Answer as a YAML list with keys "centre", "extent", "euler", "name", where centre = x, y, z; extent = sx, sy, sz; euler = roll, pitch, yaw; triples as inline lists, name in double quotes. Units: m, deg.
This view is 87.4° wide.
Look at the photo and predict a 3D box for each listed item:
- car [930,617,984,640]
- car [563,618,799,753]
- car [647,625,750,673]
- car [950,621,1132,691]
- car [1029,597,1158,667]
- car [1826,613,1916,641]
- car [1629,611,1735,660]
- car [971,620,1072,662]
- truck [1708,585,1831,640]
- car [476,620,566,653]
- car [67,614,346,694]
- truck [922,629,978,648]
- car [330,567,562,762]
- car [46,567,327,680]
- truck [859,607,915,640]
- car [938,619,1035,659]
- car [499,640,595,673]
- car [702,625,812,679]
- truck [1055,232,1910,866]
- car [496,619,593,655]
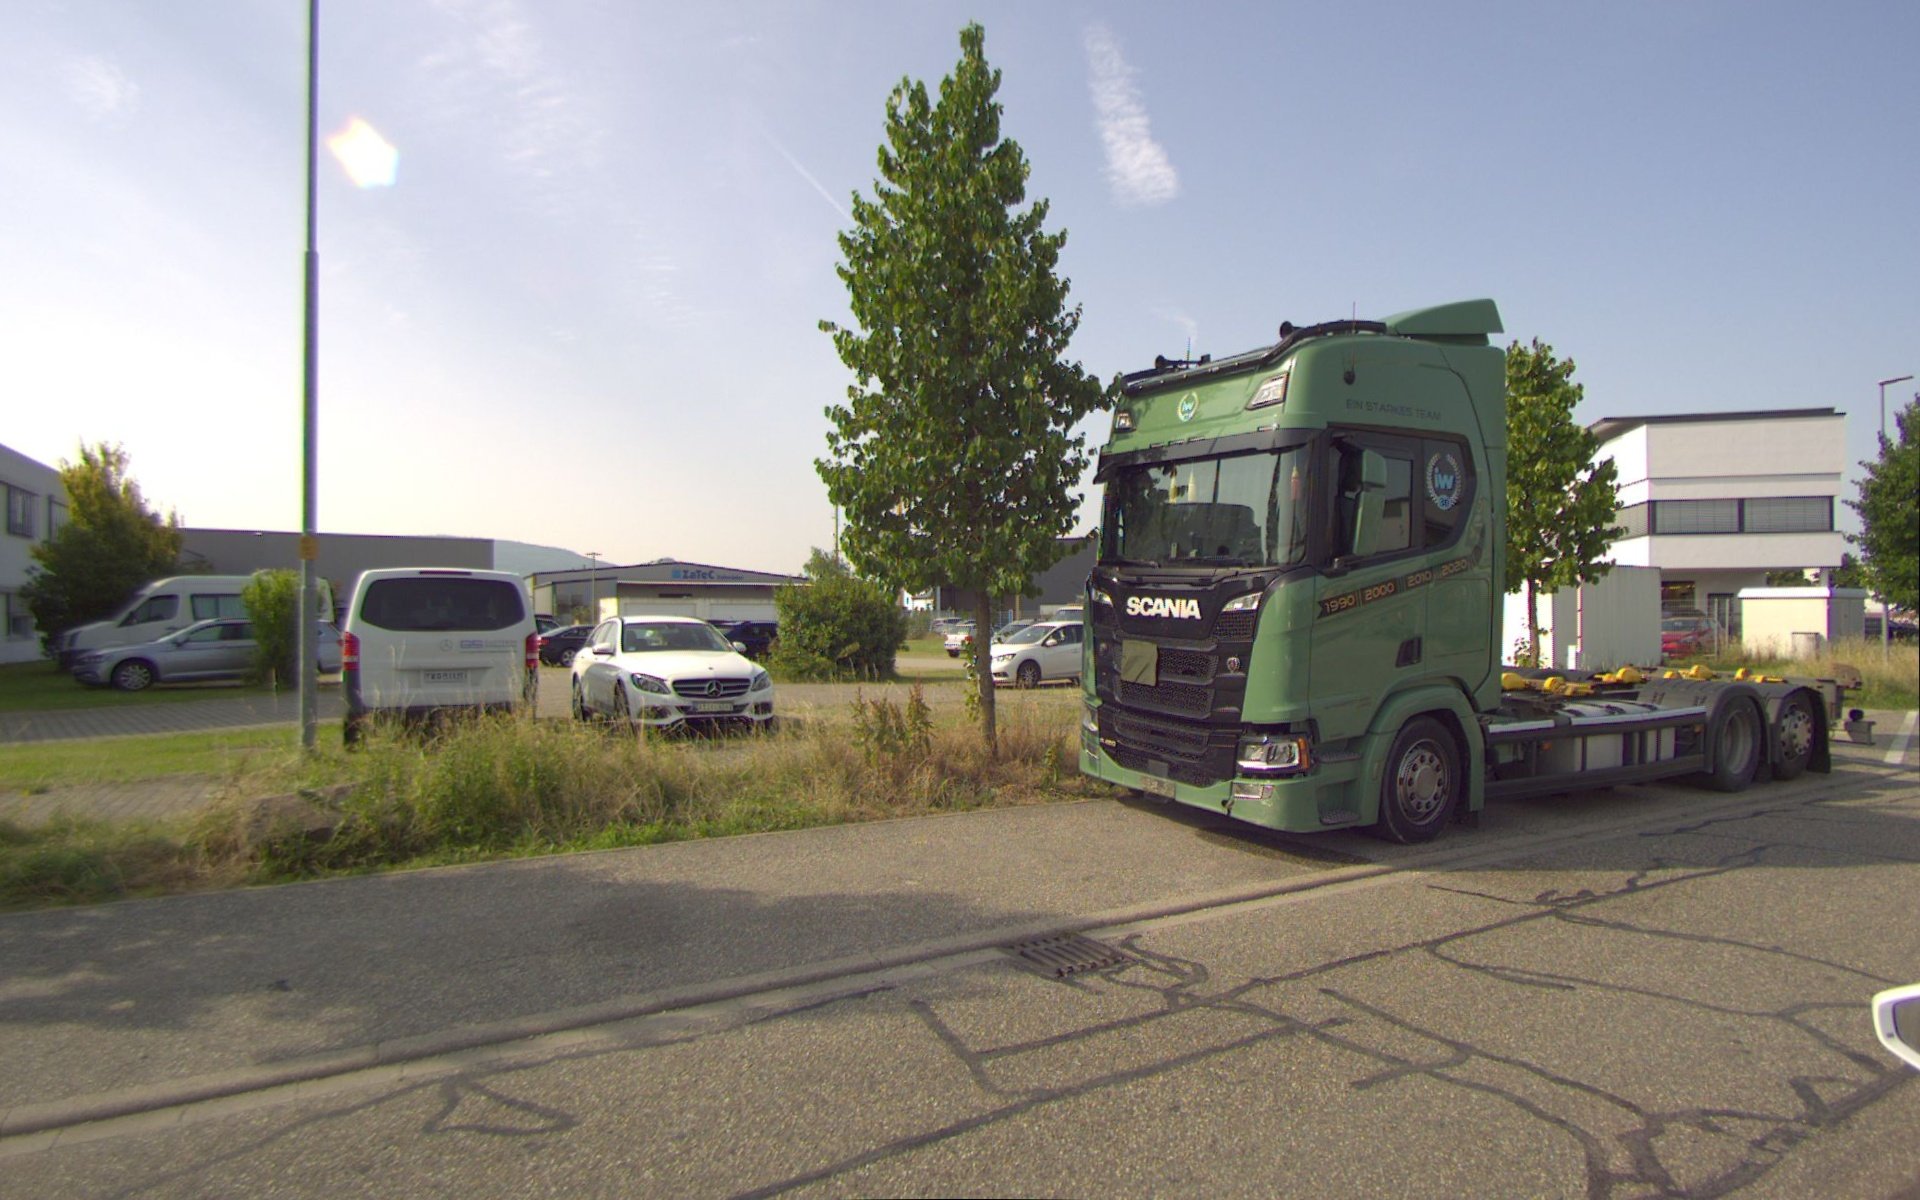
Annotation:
- centre: [-0.246, 2.245, 80.748]
  extent: [3.948, 1.792, 1.859]
  euler: [0, -1, -27]
  name: "car"
- centre: [-3.895, 0.967, 13.370]
  extent: [1.976, 1.450, 4.705]
  euler: [0, -1, -29]
  name: "car"
- centre: [-7.550, 1.398, 29.150]
  extent: [1.174, 1.331, 2.699]
  euler: [-1, -2, 42]
  name: "car"
- centre: [1.979, 1.289, 24.094]
  extent: [4.167, 1.536, 1.696]
  euler: [1, -2, -32]
  name: "car"
- centre: [5.306, 1.261, 39.361]
  extent: [5.419, 2.580, 2.032]
  euler: [2, -2, -42]
  name: "car"
- centre: [51.332, 1.516, 56.666]
  extent: [3.433, 1.473, 1.598]
  euler: [1, -1, 12]
  name: "car"
- centre: [25.099, 1.197, 34.864]
  extent: [4.262, 1.545, 1.758]
  euler: [-1, 0, -36]
  name: "car"
- centre: [2.555, 1.651, 41.205]
  extent: [4.121, 1.634, 1.825]
  euler: [2, -2, -42]
  name: "car"
- centre: [63.504, 1.020, 79.329]
  extent: [2.581, 3.981, 12.925]
  euler: [0, -1, 15]
  name: "truck"
- centre: [-22.164, 1.835, 50.730]
  extent: [4.099, 1.634, 1.834]
  euler: [1, -2, -27]
  name: "car"
- centre: [-15.699, 1.088, 21.130]
  extent: [1.558, 1.500, 4.498]
  euler: [-1, -2, 43]
  name: "car"
- centre: [-0.752, 2.950, 77.386]
  extent: [3.948, 1.327, 1.859]
  euler: [0, -1, -27]
  name: "truck"
- centre: [-6.252, 0.657, 12.123]
  extent: [2.078, 1.860, 4.683]
  euler: [0, -1, -30]
  name: "car"
- centre: [-20.410, 0.636, 26.796]
  extent: [1.686, 2.730, 5.721]
  euler: [-1, -2, 42]
  name: "car"
- centre: [-5.668, 1.832, 78.163]
  extent: [3.946, 2.547, 1.987]
  euler: [0, -1, -26]
  name: "truck"
- centre: [1.194, 1.691, 43.605]
  extent: [4.121, 1.634, 1.825]
  euler: [2, -2, -42]
  name: "car"
- centre: [-13.366, 1.813, 32.560]
  extent: [2.691, 1.007, 1.078]
  euler: [1, -2, -40]
  name: "car"
- centre: [-5.556, 1.405, 27.668]
  extent: [1.174, 1.407, 2.845]
  euler: [-1, -2, 42]
  name: "car"
- centre: [5.617, -0.232, 9.715]
  extent: [9.685, 3.933, 2.444]
  euler: [1, 0, -30]
  name: "truck"
- centre: [-19.567, 1.750, 47.358]
  extent: [4.099, 1.634, 1.834]
  euler: [1, -2, -27]
  name: "car"
